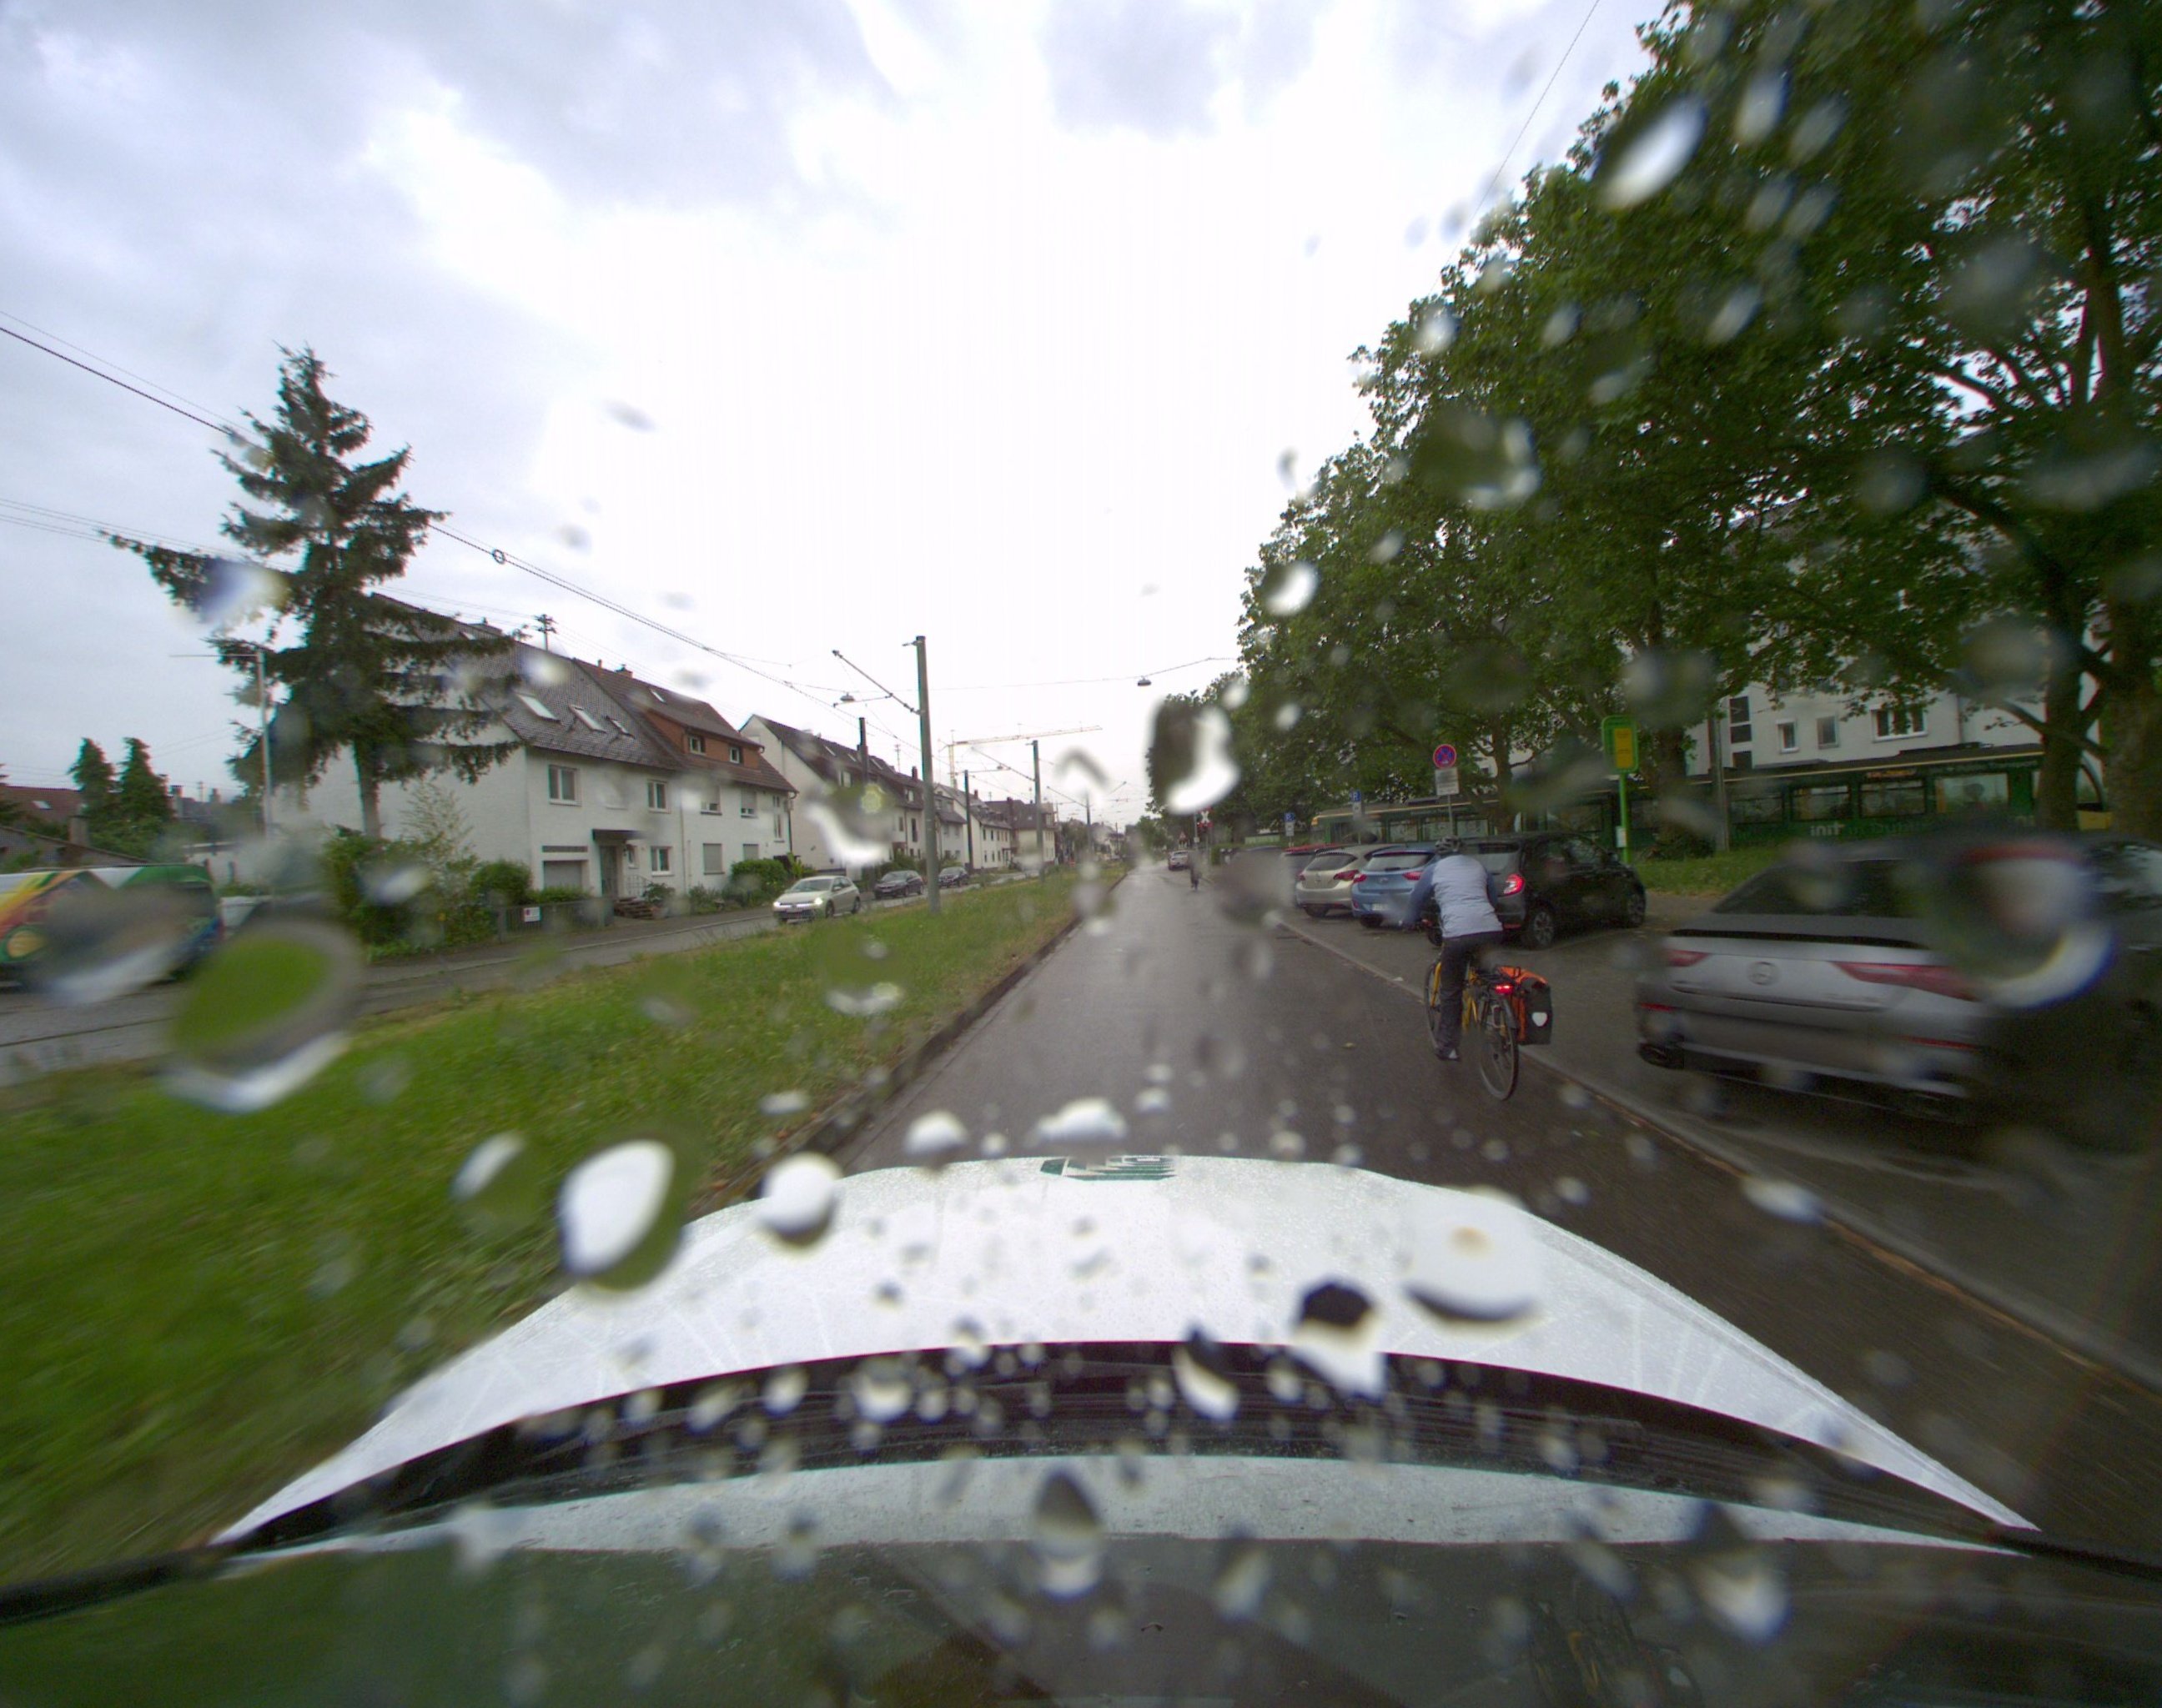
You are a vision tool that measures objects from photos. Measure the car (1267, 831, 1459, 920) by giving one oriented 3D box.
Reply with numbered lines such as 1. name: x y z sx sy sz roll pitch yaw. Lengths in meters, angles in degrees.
1. car: 6.252 0.452 17.938 4.018 1.553 1.939 -4 -2 -36

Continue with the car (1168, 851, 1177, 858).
1. car: 21.669 0.134 192.805 1.984 1.492 4.005 -3 -2 5

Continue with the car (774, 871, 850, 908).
1. car: -11.508 1.524 35.097 1.593 1.424 3.949 -3 -2 5

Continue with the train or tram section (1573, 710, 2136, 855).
1. train or tram section: 26.666 -2.060 29.902 2.728 3.590 14.568 -1 -2 -38

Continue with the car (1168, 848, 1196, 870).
1. car: 8.230 0.402 66.787 1.946 1.553 4.004 -5 -1 4

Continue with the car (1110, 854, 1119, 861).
1. car: 8.830 0.916 214.467 1.983 1.544 4.006 -4 -2 6

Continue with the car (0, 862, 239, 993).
1. car: -21.196 1.554 17.018 5.109 2.406 2.154 -3 -2 4

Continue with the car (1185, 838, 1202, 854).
1. car: 15.714 -1.149 114.111 1.933 2.013 4.004 -5 -1 4

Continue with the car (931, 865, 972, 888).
1. car: -9.319 1.630 58.819 1.868 1.503 4.138 -3 -2 5

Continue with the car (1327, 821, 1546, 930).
1. car: 6.648 0.364 15.104 4.018 1.500 1.804 -7 0 -36

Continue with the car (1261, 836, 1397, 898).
1. car: 7.422 0.374 24.386 3.602 1.480 1.626 -5 0 -22

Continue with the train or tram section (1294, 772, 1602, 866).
1. train or tram section: 17.706 -1.441 41.372 2.728 3.590 14.568 -1 -2 -38

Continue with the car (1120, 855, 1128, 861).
1. car: 12.709 1.273 240.076 1.983 1.544 4.006 -4 -2 6

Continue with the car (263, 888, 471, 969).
1. car: -19.417 1.955 22.419 1.984 1.564 3.901 -3 3 4

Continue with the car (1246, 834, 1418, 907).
1. car: 6.590 0.411 21.337 4.133 1.480 1.849 -5 0 -27

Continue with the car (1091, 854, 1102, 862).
1. car: 3.533 0.912 182.975 1.983 1.544 4.006 -4 -2 6

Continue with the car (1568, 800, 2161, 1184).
1. car: 5.408 0.488 5.052 4.557 1.476 1.789 -3 0 -25

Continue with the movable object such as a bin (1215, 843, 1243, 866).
1. movable object such as a bin: 11.659 0.043 64.245 1.554 1.704 1.491 -4 0 -19

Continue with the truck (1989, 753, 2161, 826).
1. truck: 60.173 -3.748 49.482 3.167 3.474 7.178 -4 -2 16

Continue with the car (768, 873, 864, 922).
1. car: -8.715 1.406 27.122 1.593 1.424 3.825 -3 -2 6

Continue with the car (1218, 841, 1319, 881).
1. car: 8.386 0.307 36.442 4.009 1.483 1.982 -4 1 -27

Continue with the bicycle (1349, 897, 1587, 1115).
1. bicycle: 2.542 0.926 5.646 0.750 1.072 1.928 -4 1 2

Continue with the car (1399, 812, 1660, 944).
1. car: 6.631 0.313 11.996 3.529 1.506 1.737 -5 -1 -31

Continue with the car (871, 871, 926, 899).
1. car: -10.239 1.741 46.115 1.593 1.424 4.673 -3 -2 5

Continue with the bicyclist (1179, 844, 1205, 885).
1. bicyclist: 4.430 0.414 32.624 0.828 1.558 0.914 -4 -1 2

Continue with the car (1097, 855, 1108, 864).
1. car: 5.024 1.278 189.118 1.983 1.705 4.006 -4 -2 6

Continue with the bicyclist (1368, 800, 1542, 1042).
1. bicyclist: 2.511 0.418 5.569 0.748 1.485 0.847 -4 1 2

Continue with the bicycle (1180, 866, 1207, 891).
1. bicycle: 4.466 0.948 32.468 0.818 0.912 1.986 -4 -1 2

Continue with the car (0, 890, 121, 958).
1. car: -27.683 1.834 20.842 1.864 1.580 4.374 -4 0 -17

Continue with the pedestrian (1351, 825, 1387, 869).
1. pedestrian: 11.796 -0.284 33.404 1.040 1.714 1.082 -4 0 5
